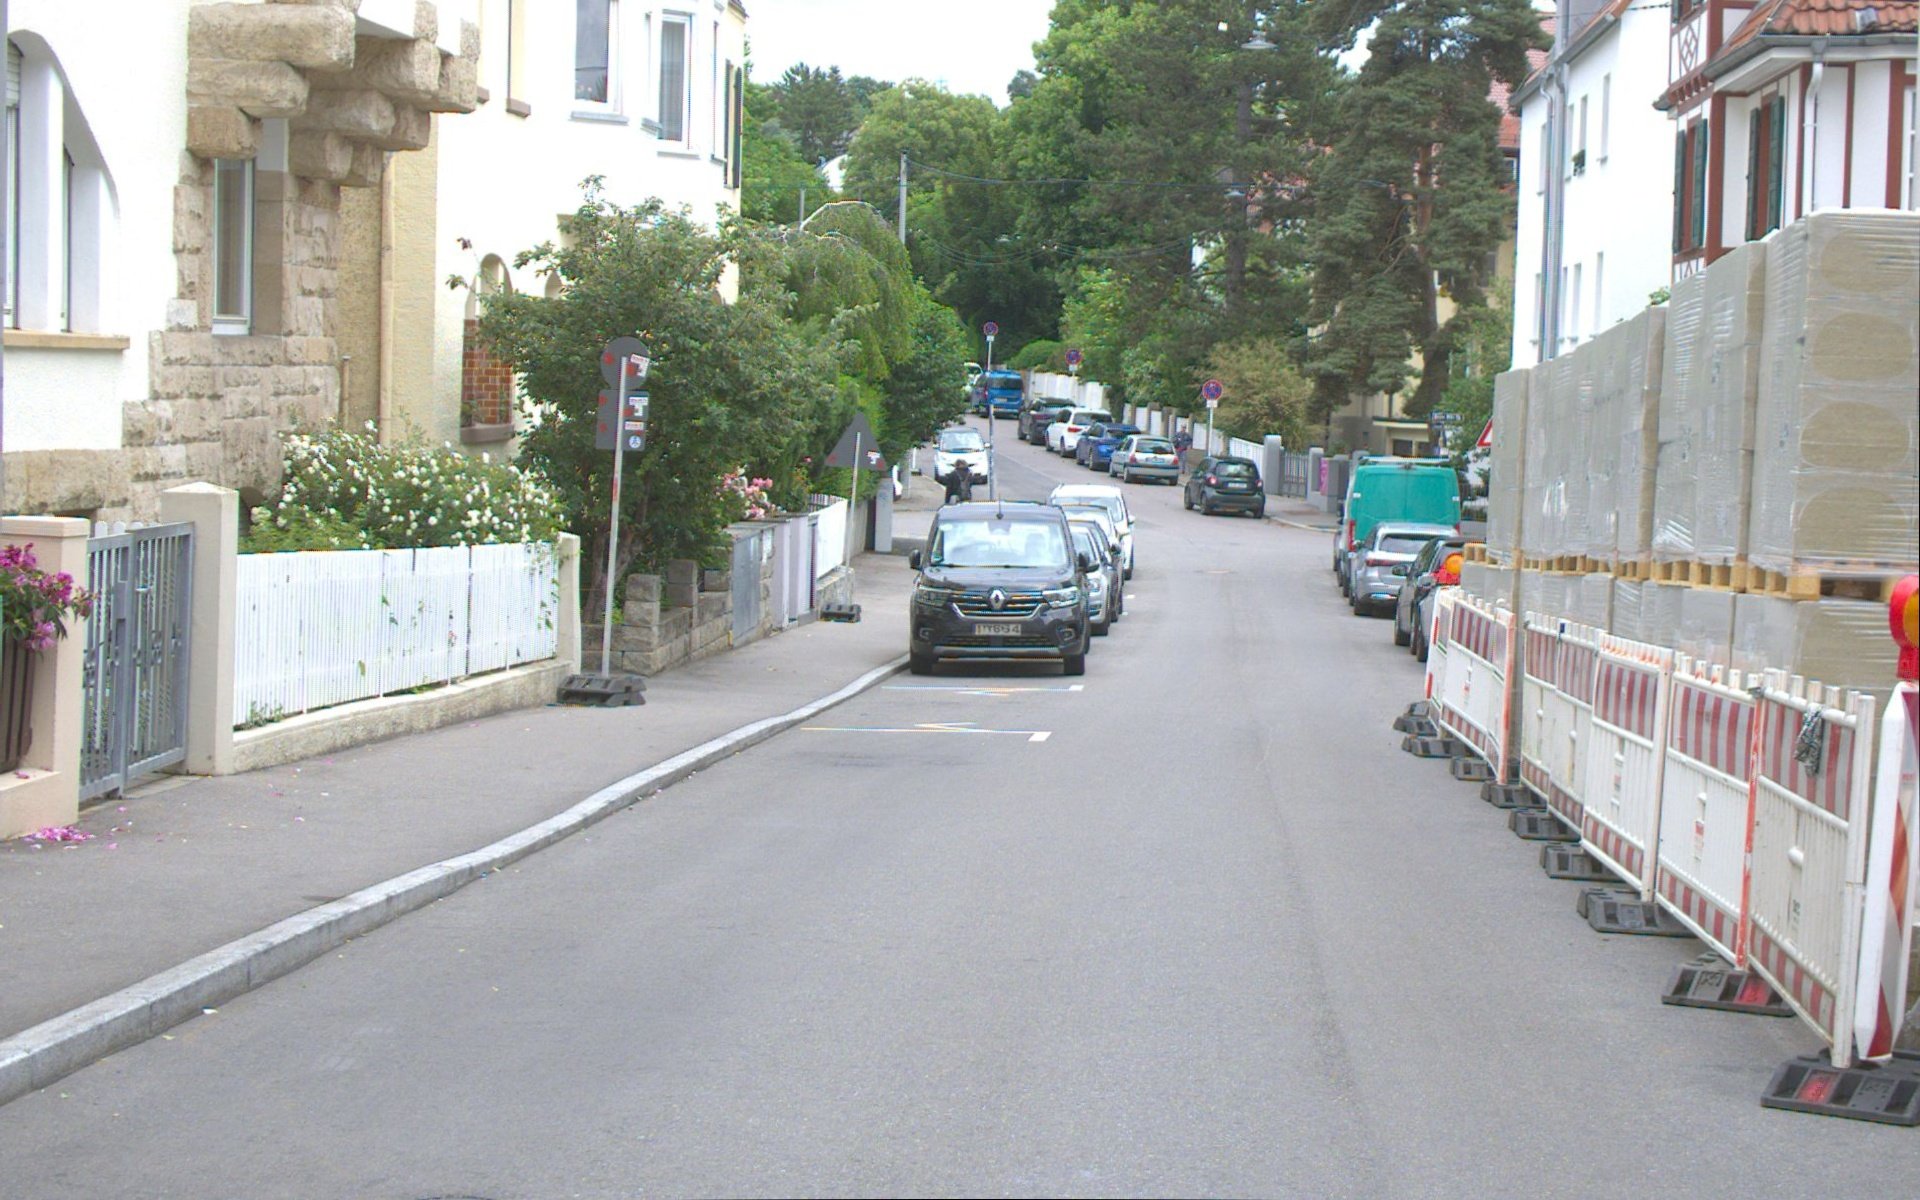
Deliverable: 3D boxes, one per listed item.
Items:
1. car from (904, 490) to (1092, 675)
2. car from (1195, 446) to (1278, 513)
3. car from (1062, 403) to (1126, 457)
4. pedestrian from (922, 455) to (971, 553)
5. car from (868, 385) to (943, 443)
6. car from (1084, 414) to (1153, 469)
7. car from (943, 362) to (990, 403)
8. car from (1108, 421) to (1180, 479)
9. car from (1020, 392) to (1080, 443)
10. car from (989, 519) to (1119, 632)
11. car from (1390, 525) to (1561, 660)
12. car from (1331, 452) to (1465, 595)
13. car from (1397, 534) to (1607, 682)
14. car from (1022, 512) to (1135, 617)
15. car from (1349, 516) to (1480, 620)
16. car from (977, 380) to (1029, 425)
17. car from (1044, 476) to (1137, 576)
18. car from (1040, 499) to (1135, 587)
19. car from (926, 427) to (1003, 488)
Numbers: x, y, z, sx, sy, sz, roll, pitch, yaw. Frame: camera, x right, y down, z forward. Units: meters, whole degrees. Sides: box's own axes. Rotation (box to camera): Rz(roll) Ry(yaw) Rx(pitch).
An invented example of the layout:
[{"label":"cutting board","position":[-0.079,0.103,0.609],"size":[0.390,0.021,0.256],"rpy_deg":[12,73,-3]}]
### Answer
[{"label":"car","position":[0.418,-0.212,36.432],"size":[1.845,1.809,4.544],"rpy_deg":[1,1,1]},{"label":"car","position":[7.327,-3.219,91.326],"size":[1.634,1.478,3.532],"rpy_deg":[3,5,-4]},{"label":"car","position":[4.434,-5.660,114.080],"size":[1.634,1.532,3.532],"rpy_deg":[3,5,-5]},{"label":"pedestrian","position":[-0.271,-1.950,69.394],"size":[0.791,1.926,0.919],"rpy_deg":[3,2,7]},{"label":"car","position":[-1.927,-6.514,119.900],"size":[1.903,1.870,4.598],"rpy_deg":[0,5,-10]},{"label":"car","position":[4.957,-4.990,107.926],"size":[1.634,1.478,3.532],"rpy_deg":[3,5,-5]},{"label":"car","position":[0.268,-9.184,144.847],"size":[1.634,1.532,3.532],"rpy_deg":[3,5,-5]},{"label":"car","position":[5.513,-4.532,103.435],"size":[1.634,1.478,3.532],"rpy_deg":[3,5,-5]},{"label":"car","position":[3.115,-6.376,119.921],"size":[1.634,1.532,3.532],"rpy_deg":[3,5,-5]},{"label":"car","position":[1.307,-0.366,46.499],"size":[1.642,1.412,3.984],"rpy_deg":[1,2,3]},{"label":"car","position":[6.446,-0.134,43.306],"size":[1.689,1.514,3.880],"rpy_deg":[3,2,3]},{"label":"car","position":[7.729,-1.402,61.023],"size":[1.980,2.354,4.277],"rpy_deg":[2,3,3]},{"label":"car","position":[6.042,0.037,38.781],"size":[1.819,1.437,4.451],"rpy_deg":[3,2,3]},{"label":"car","position":[1.805,-0.566,51.551],"size":[1.596,1.473,3.991],"rpy_deg":[1,2,3]},{"label":"car","position":[7.168,-0.532,54.508],"size":[1.725,1.443,3.881],"rpy_deg":[2,3,3]},{"label":"car","position":[1.675,-7.742,134.490],"size":[1.634,1.532,3.532],"rpy_deg":[3,5,-5]},{"label":"car","position":[2.505,-1.441,65.295],"size":[1.672,1.651,3.864],"rpy_deg":[1,5,3]},{"label":"car","position":[2.293,-1.036,61.053],"size":[1.596,1.408,3.663],"rpy_deg":[1,3,3]},{"label":"car","position":[0.125,-4.205,101.181],"size":[1.672,1.651,3.865],"rpy_deg":[0,5,-9]}]
